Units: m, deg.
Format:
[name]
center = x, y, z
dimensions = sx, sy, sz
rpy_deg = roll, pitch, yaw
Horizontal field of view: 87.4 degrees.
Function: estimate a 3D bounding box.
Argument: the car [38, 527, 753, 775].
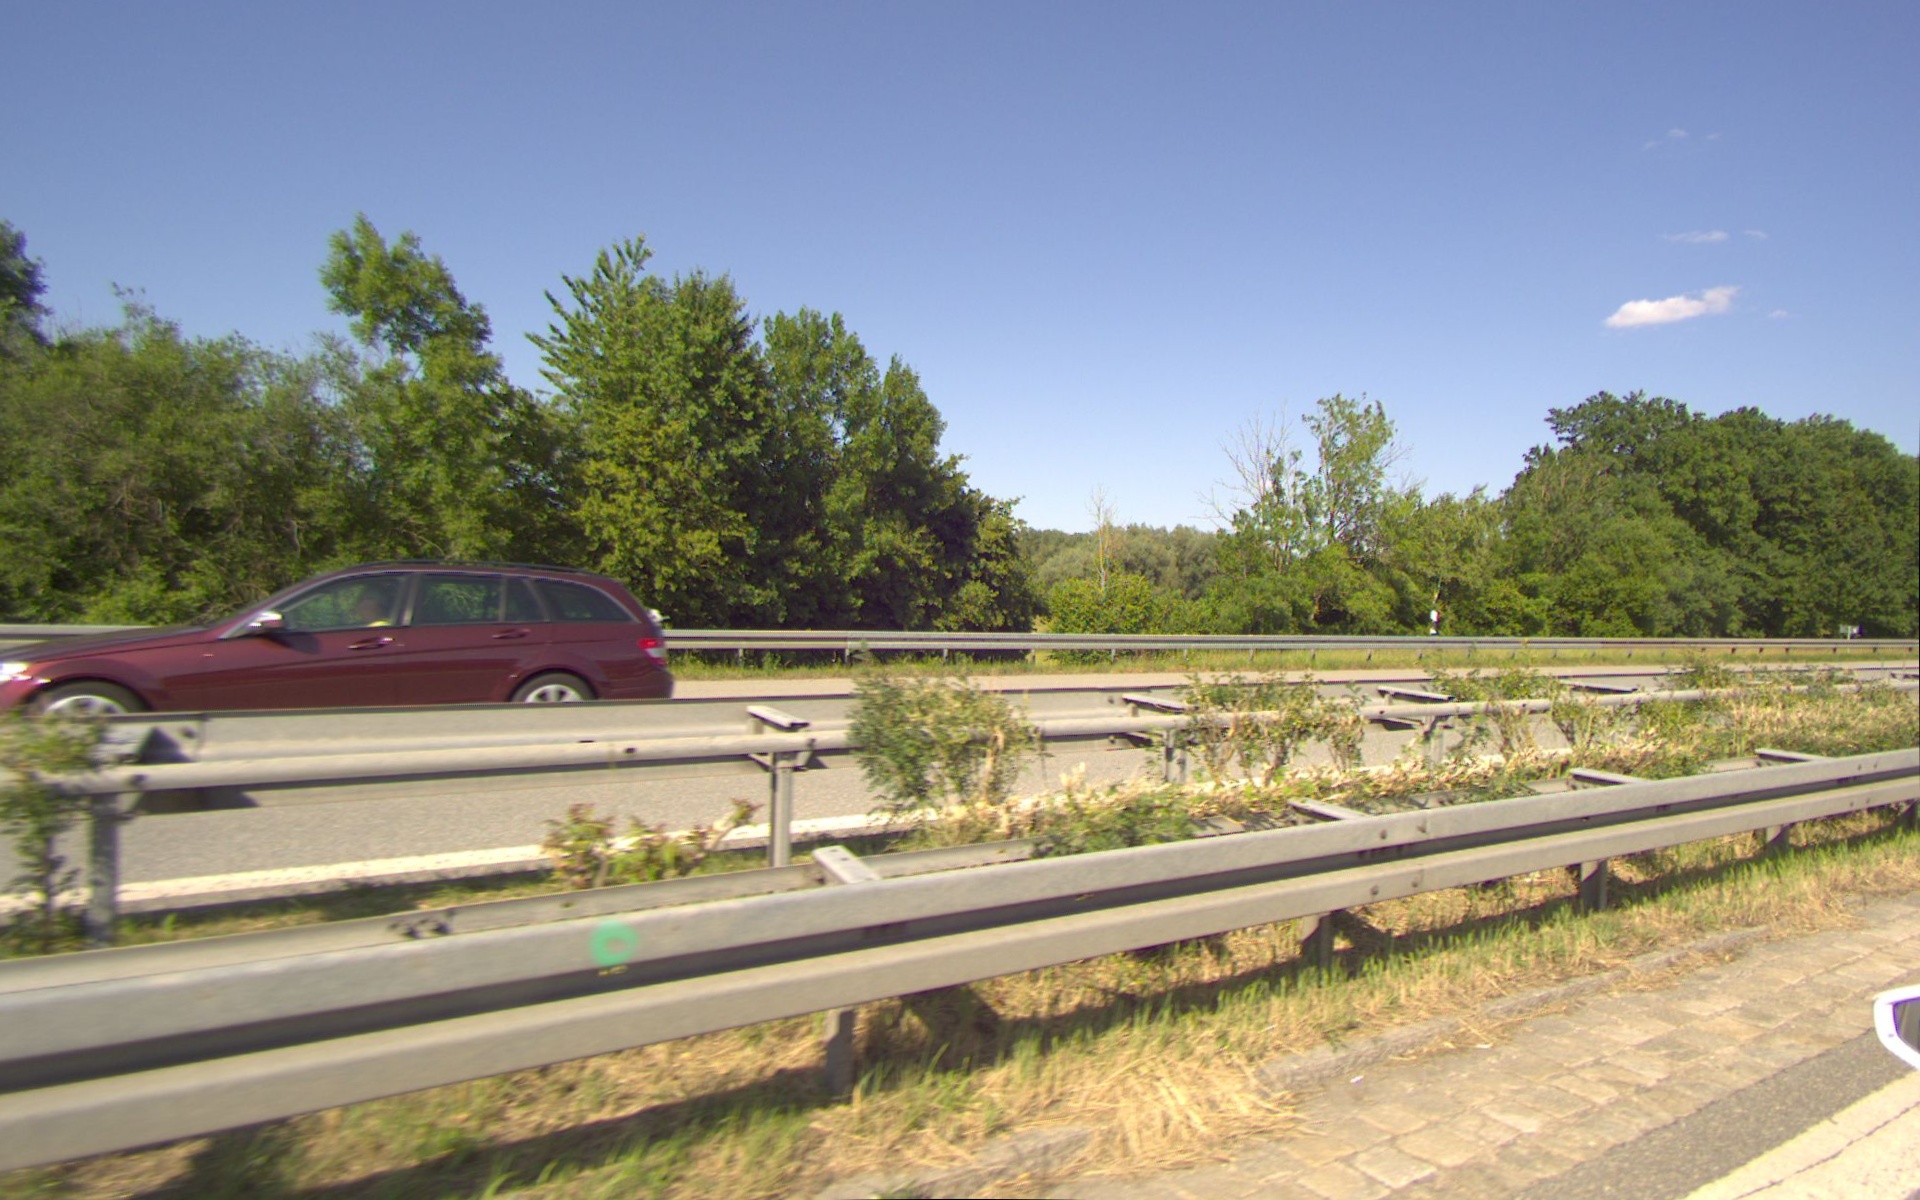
[car]
center = -4.083, 0.330, 7.965
dimensions = 4.455, 1.490, 1.764
rpy_deg = 1, 1, -31
